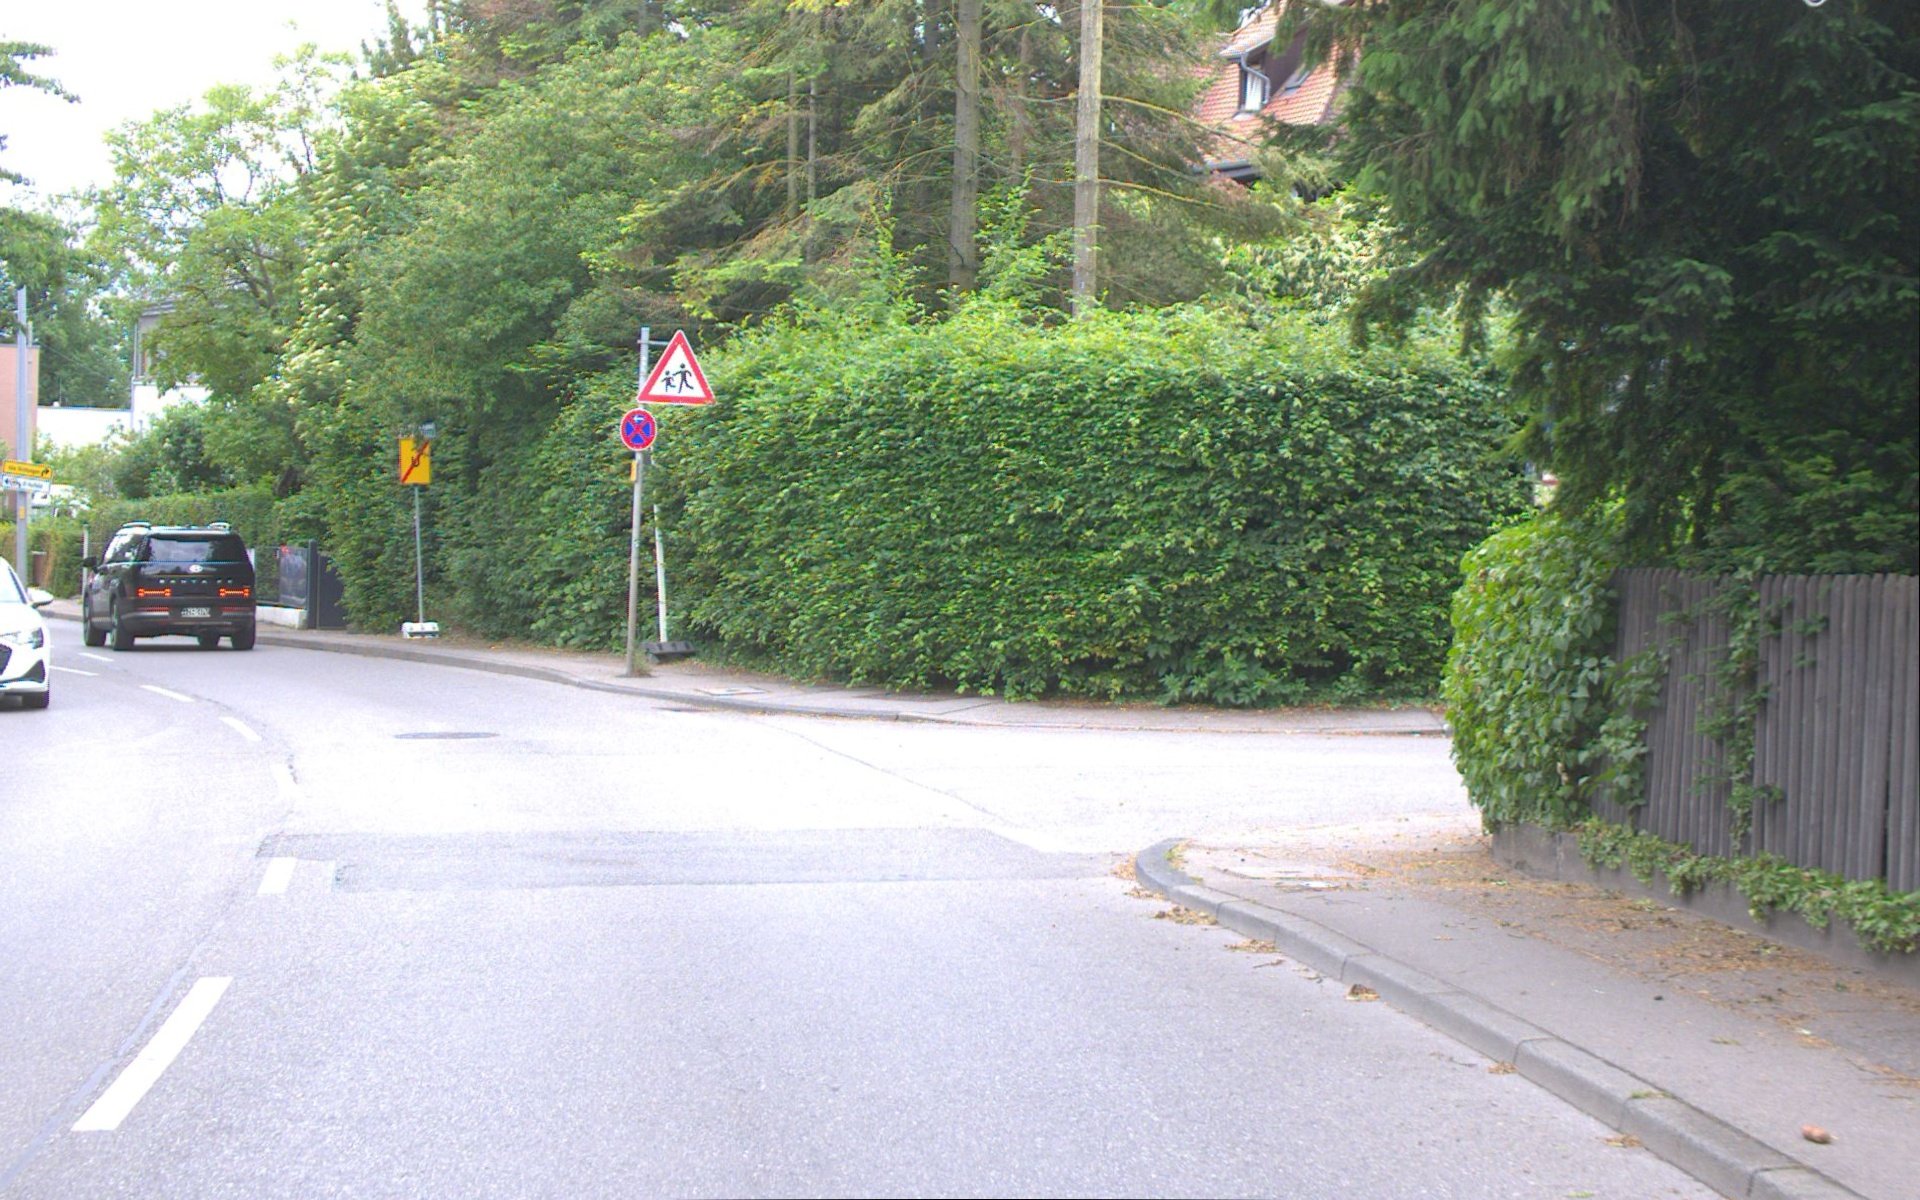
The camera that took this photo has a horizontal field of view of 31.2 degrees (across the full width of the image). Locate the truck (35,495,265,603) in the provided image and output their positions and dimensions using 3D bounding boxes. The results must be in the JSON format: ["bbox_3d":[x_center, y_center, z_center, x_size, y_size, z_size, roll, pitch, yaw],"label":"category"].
[{"bbox_3d":[-37.725,-2.323,160.695,3.130,4.718,11.775,3,1,30],"label":"truck"}]

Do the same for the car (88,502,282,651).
[{"bbox_3d":[-10.877,-0.359,48.044,1.993,1.875,4.002,1,2,-22],"label":"car"}]

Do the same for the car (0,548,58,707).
[{"bbox_3d":[-9.807,0.242,32.946,1.807,1.438,4.199,0,0,-21],"label":"car"}]
